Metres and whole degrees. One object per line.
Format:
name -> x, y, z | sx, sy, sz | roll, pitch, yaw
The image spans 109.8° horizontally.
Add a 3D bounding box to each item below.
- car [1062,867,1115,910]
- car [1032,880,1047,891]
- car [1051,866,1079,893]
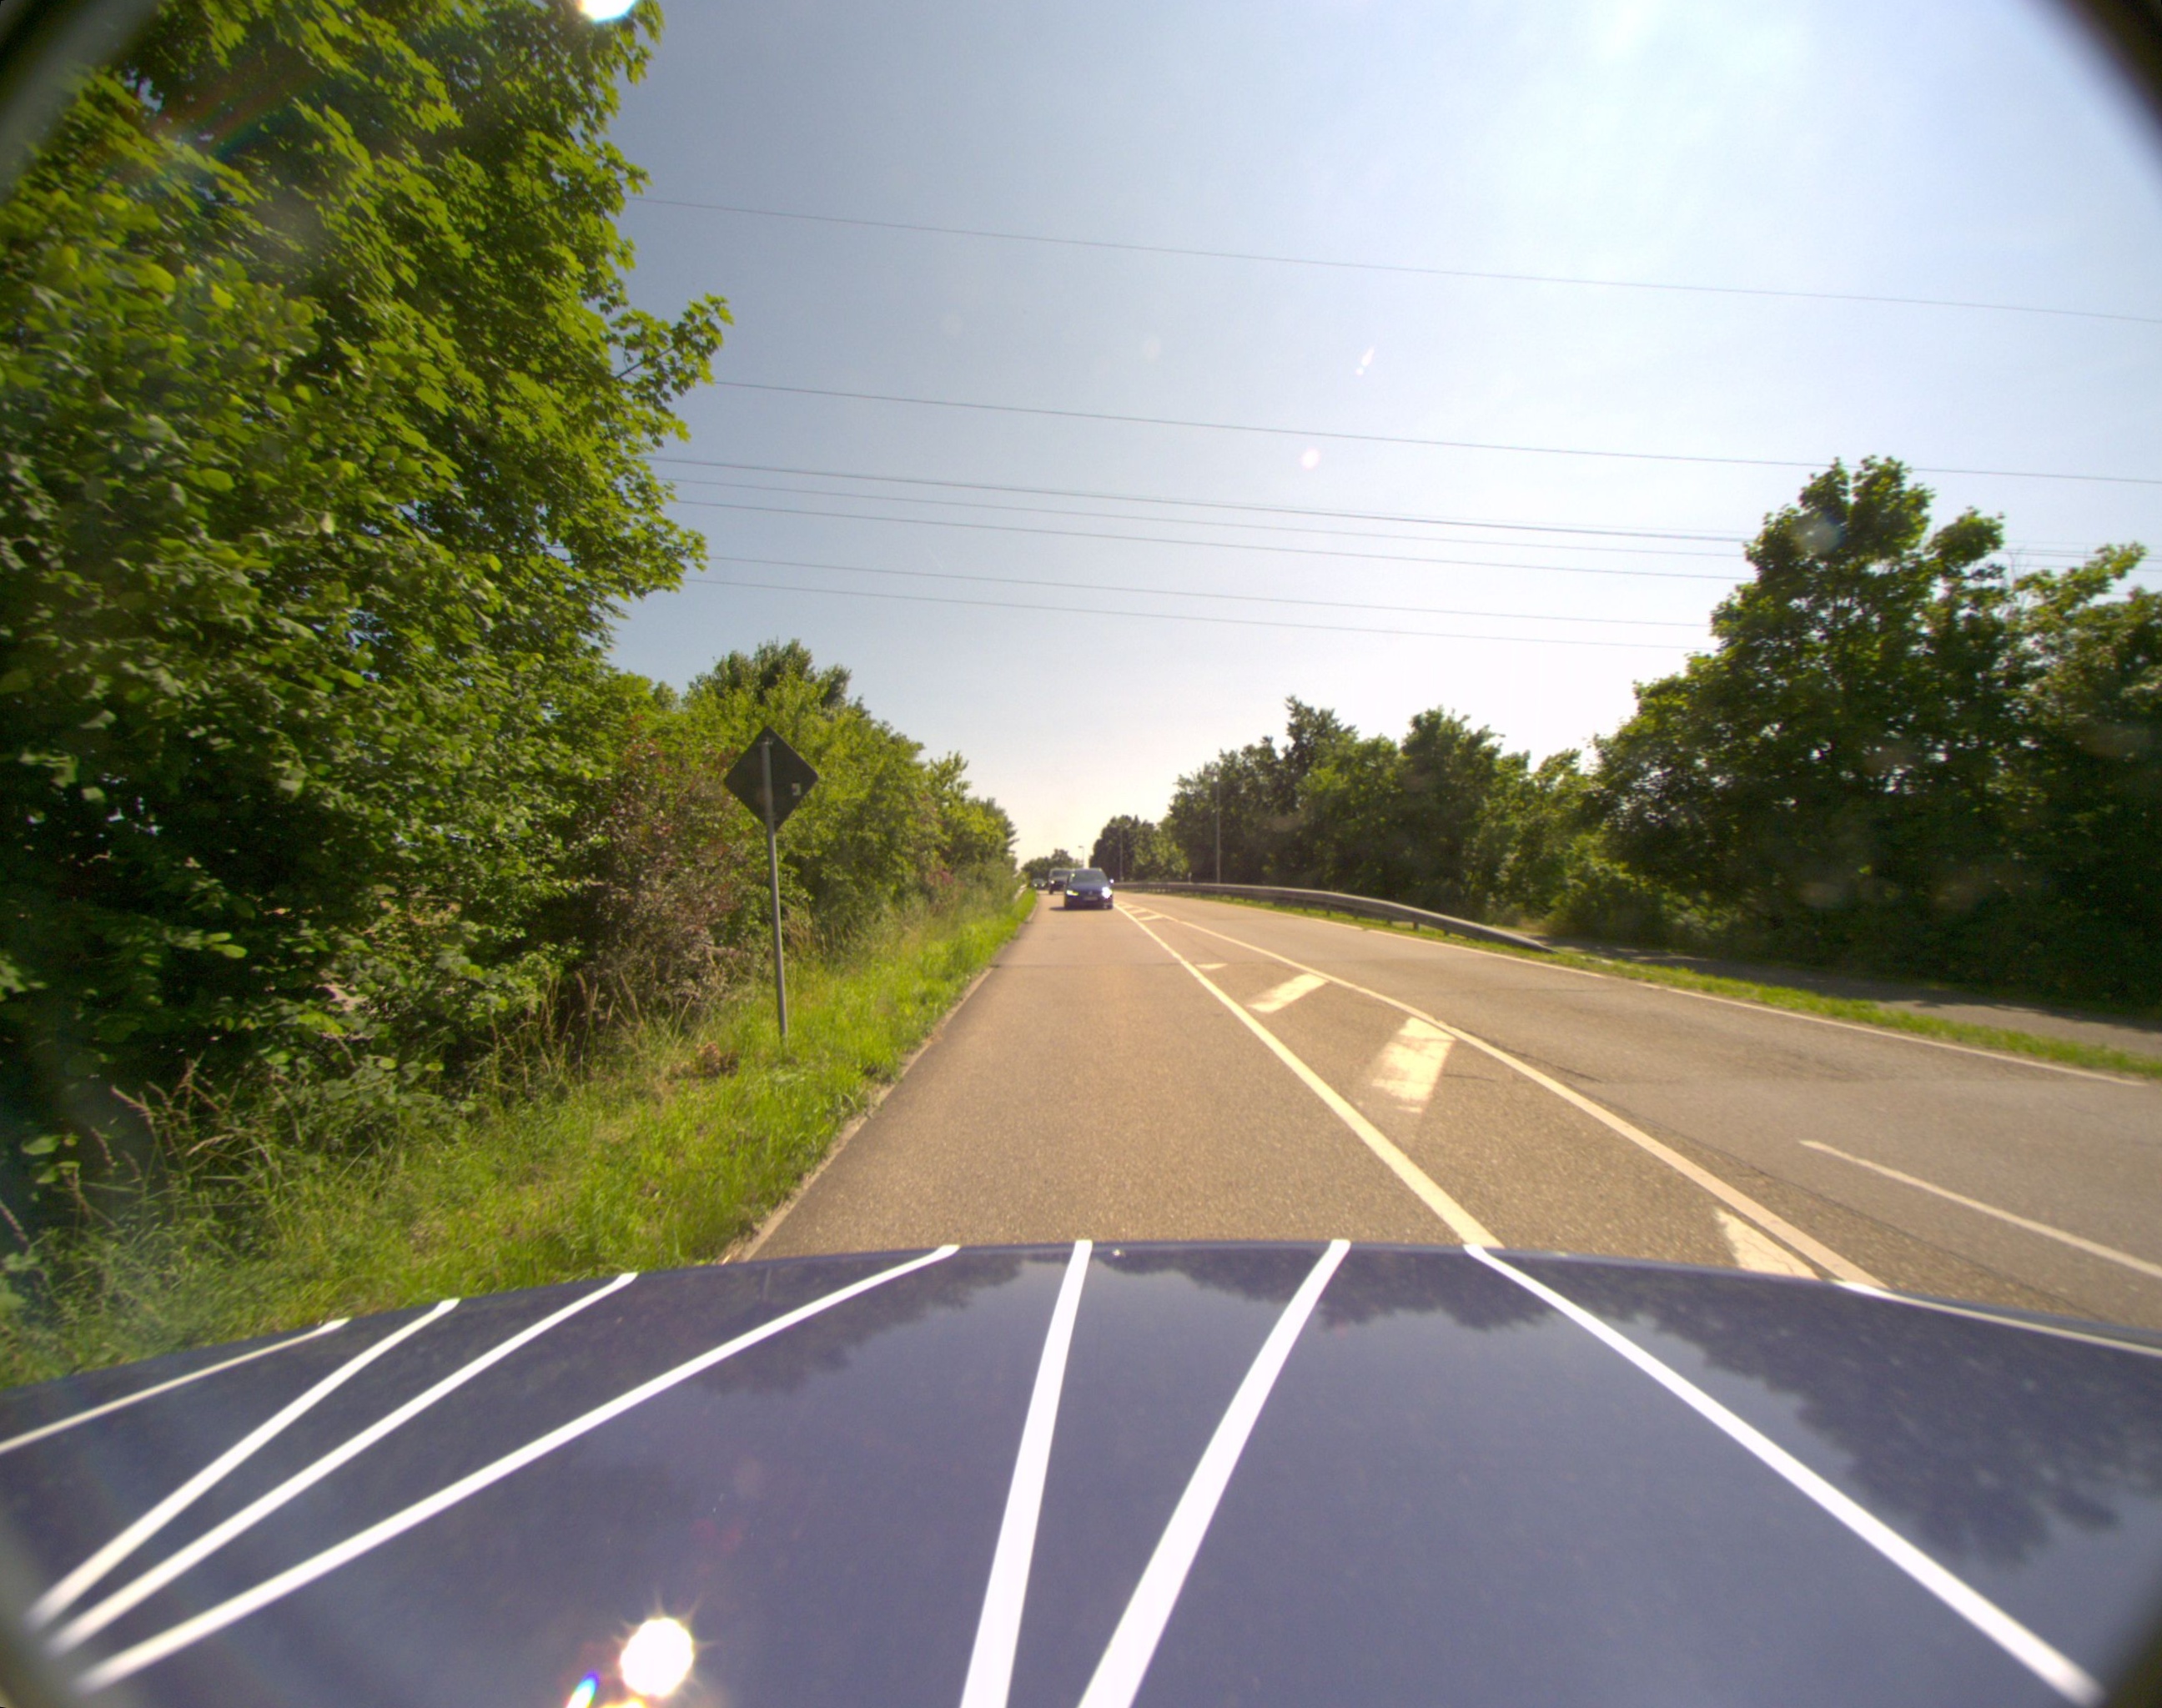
car -> 0.214, 1.319, 29.859 | 1.765, 1.519, 4.423 | -2, -2, -3
car -> -5.817, 4.411, 106.289 | 1.765, 1.529, 3.683 | -1, -2, -7
car -> -1.245, 1.932, 57.785 | 1.765, 1.953, 4.261 | -2, -2, -6
